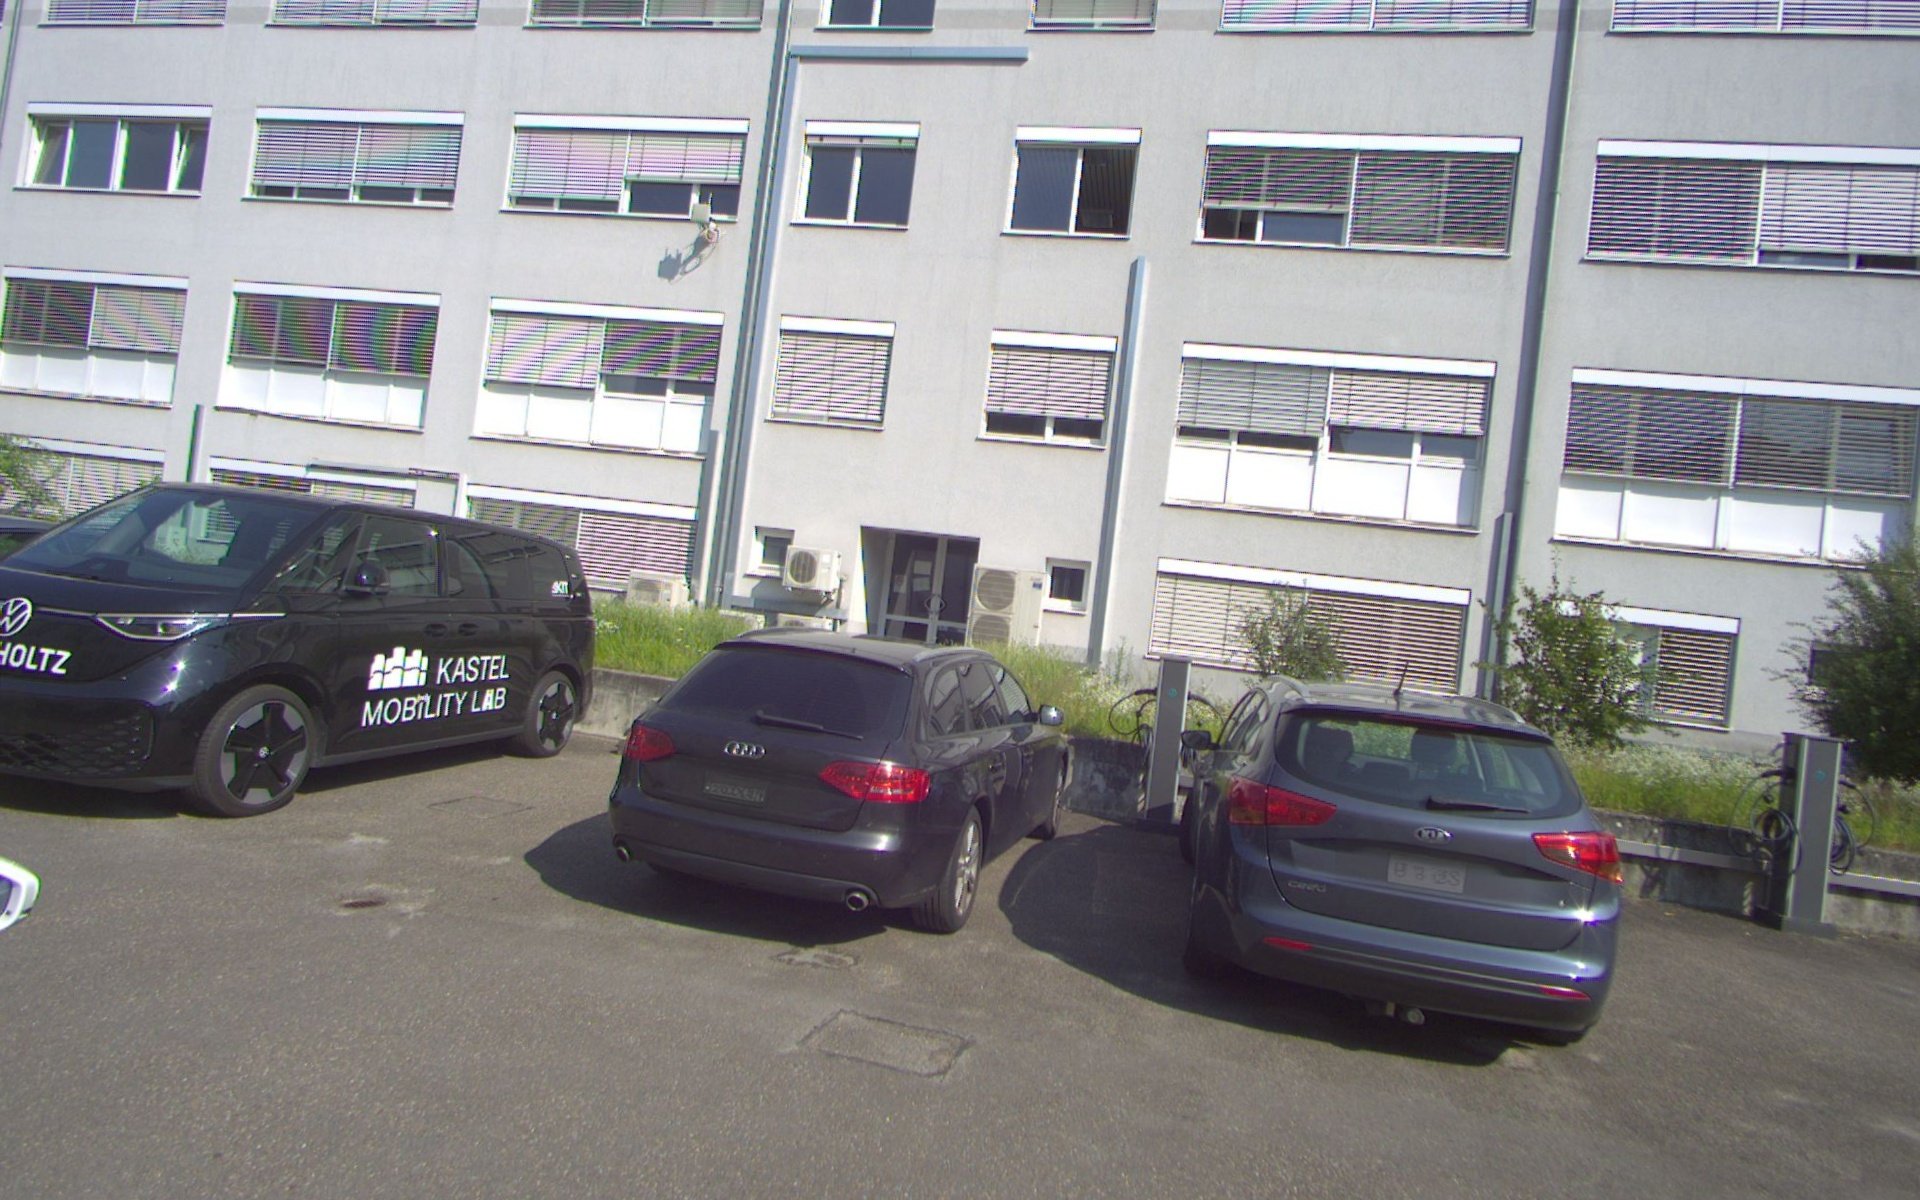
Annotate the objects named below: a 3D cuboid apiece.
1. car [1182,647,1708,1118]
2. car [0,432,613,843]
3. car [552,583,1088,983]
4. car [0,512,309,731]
[{"bbox_3d":[2.250,1.159,5.828,1.709,1.495,4.065,7,-2,13],"label":"car"},{"bbox_3d":[-4.493,0.224,7.119,1.878,1.880,4.354,7,-2,8],"label":"car"},{"bbox_3d":[-0.401,0.885,6.374,1.658,1.454,4.251,7,-2,16],"label":"car"},{"bbox_3d":[-7.261,0.088,7.715,1.631,1.483,3.913,7,-2,4],"label":"car"}]
